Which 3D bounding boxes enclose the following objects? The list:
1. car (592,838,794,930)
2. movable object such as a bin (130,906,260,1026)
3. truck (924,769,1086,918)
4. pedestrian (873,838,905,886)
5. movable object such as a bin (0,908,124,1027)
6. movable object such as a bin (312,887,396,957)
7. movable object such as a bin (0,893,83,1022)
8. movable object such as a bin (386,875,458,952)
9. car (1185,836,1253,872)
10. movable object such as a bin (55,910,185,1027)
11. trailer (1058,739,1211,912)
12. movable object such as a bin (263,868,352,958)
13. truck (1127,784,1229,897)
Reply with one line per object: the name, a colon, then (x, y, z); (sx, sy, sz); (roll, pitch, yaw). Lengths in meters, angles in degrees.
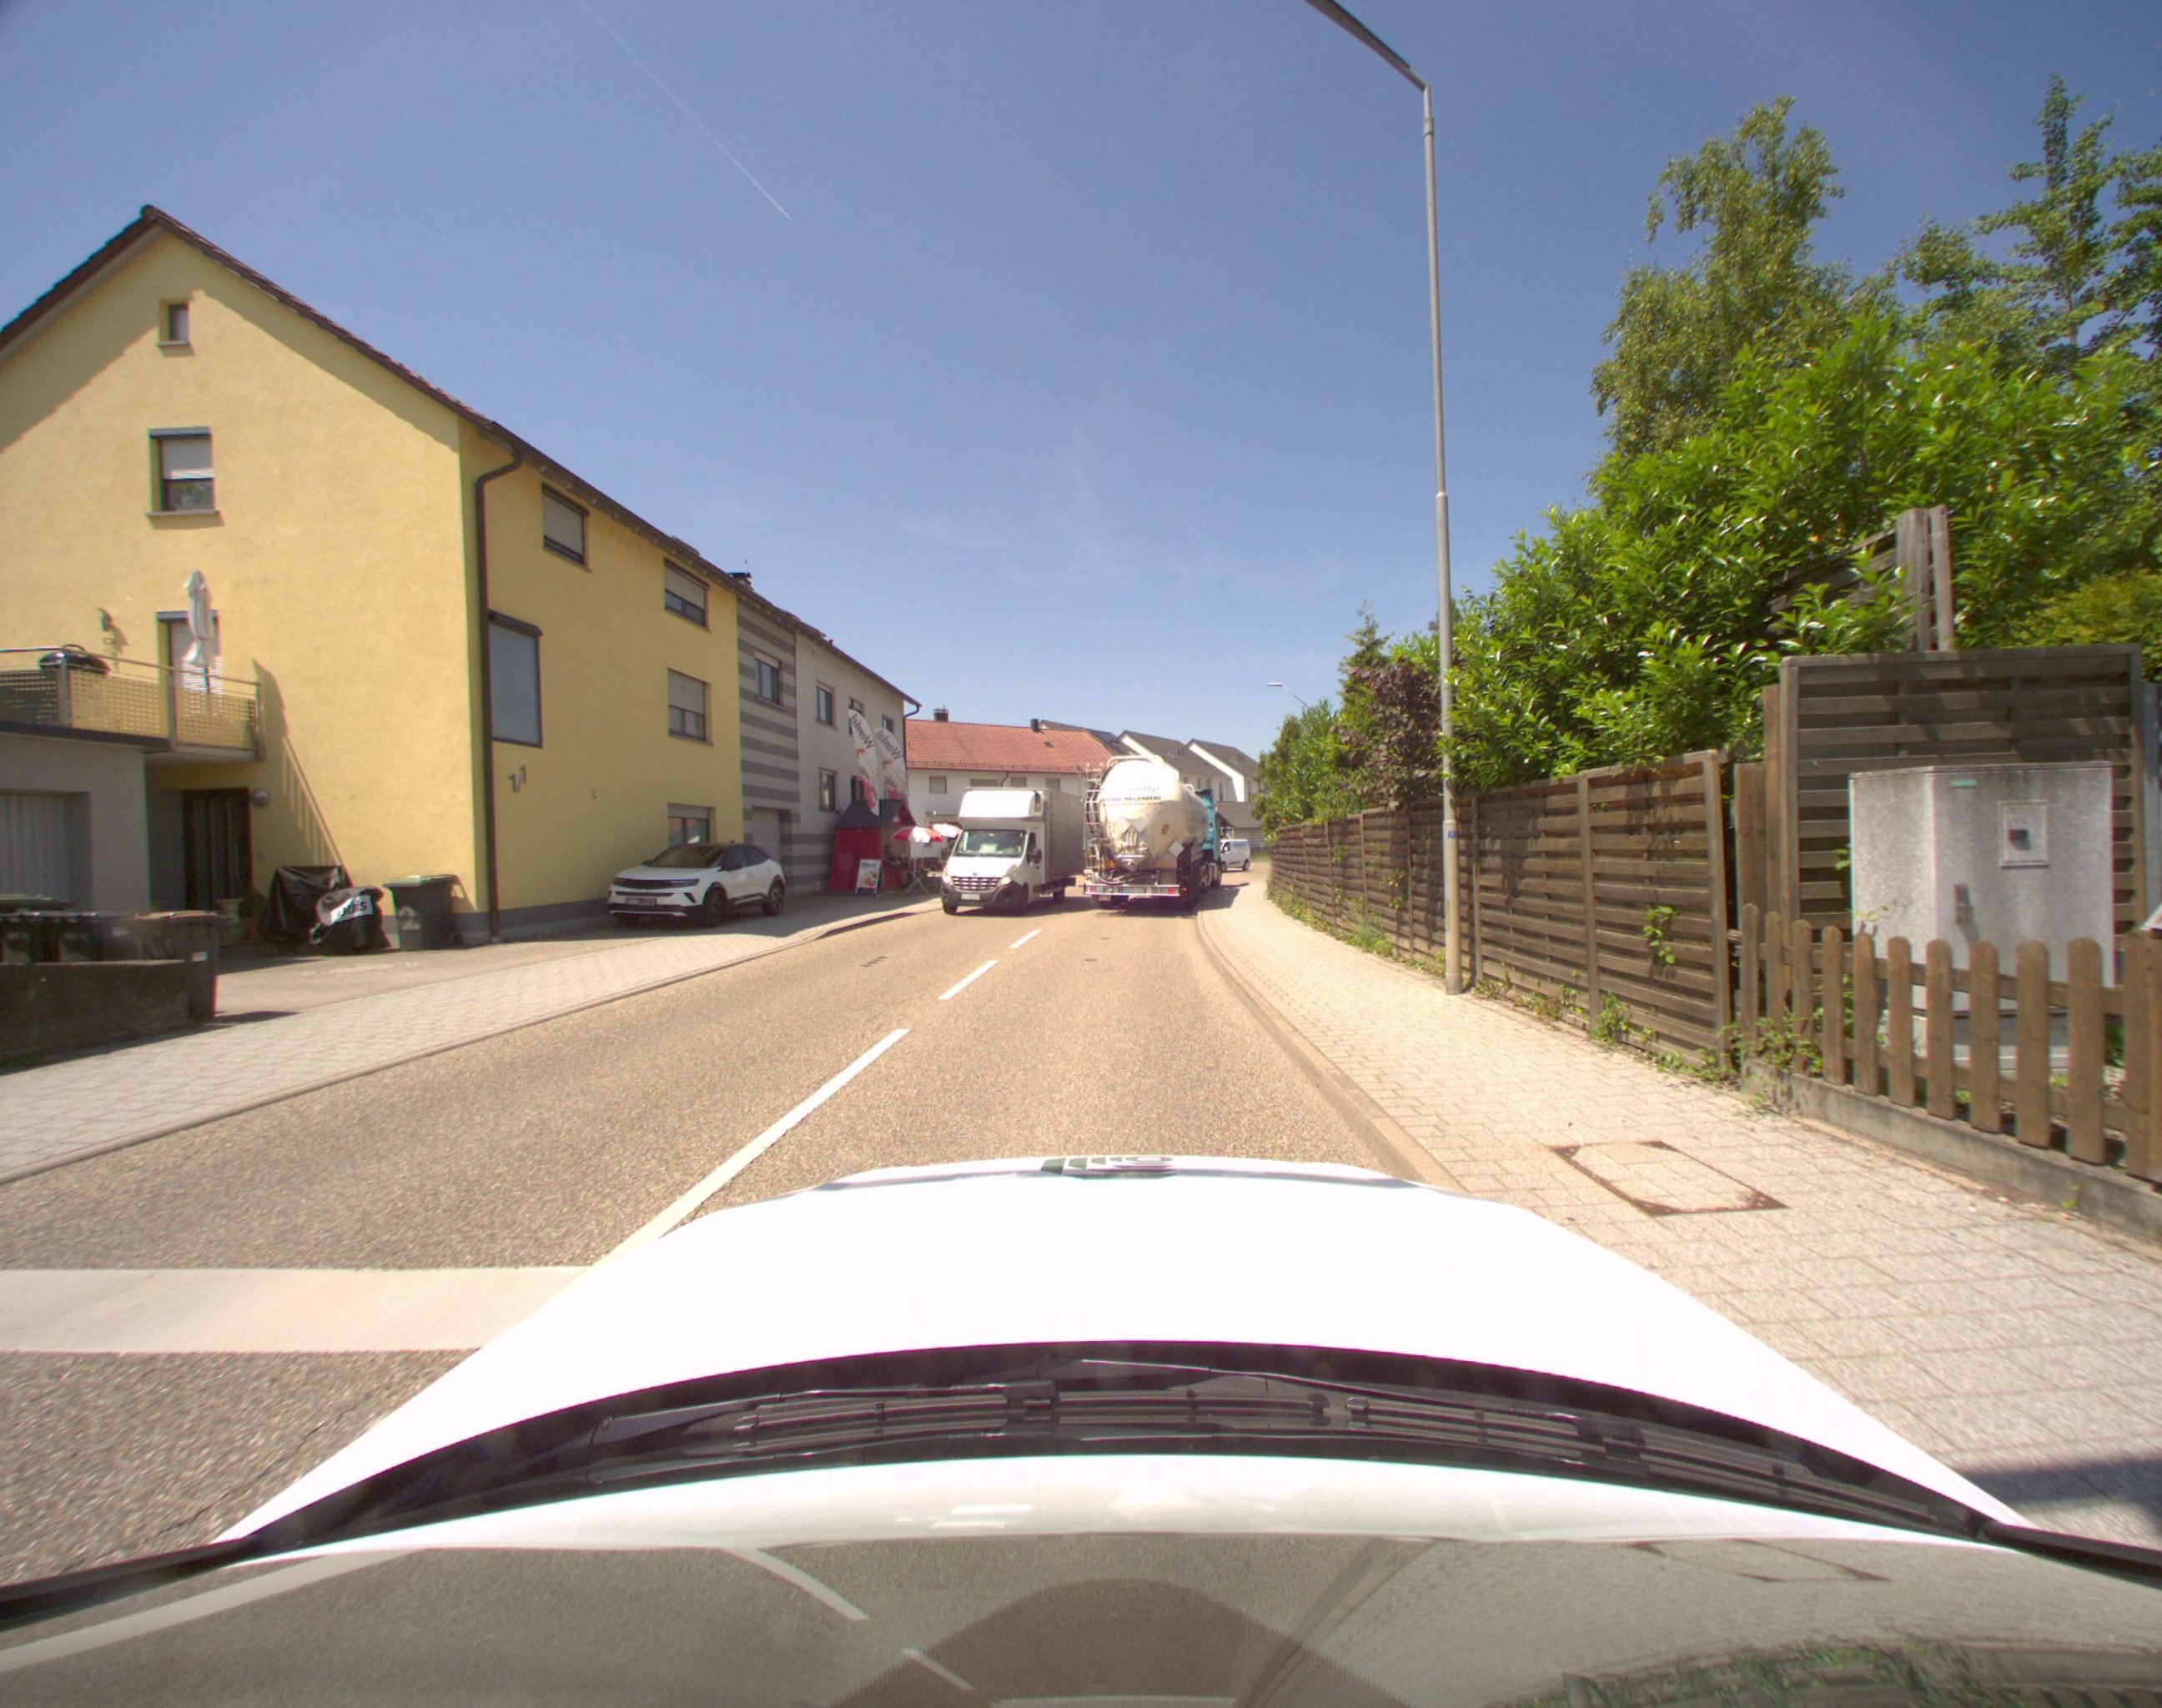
car: (-7.376, 0.496, 16.009); (1.722, 1.552, 4.193); (-1, 0, 4)
movable object such as a bin: (-7.561, 0.939, 6.970); (0.498, 0.948, 0.554); (-1, 0, 2)
truck: (-1.747, -0.308, 22.483); (2.451, 3.367, 7.638); (1, 1, 10)
pedestrian: (-6.392, 0.254, 27.088); (0.605, 1.587, 0.814); (-1, 0, 36)
movable object such as a bin: (-8.774, 0.958, 7.006); (0.445, 0.938, 0.531); (-1, 0, 2)
movable object such as a bin: (-10.124, 0.932, 11.353); (0.595, 0.910, 0.608); (-1, 0, 2)
movable object such as a bin: (-9.306, 0.887, 7.076); (0.469, 1.055, 0.634); (0, 0, 2)
movable object such as a bin: (-9.390, 0.837, 11.618); (0.498, 1.043, 0.608); (-1, 0, 2)
car: (8.510, -0.043, 49.817); (1.974, 1.999, 5.248); (1, 2, 36)
movable object such as a bin: (-8.261, 0.965, 7.020); (0.445, 0.928, 0.562); (0, 0, 2)
trailer: (2.151, -0.746, 24.794); (2.933, 3.947, 11.657); (-2, 1, 12)
movable object such as a bin: (-10.801, 0.810, 11.388); (0.550, 1.196, 0.695); (-1, 0, 2)
truck: (4.054, -0.545, 32.811); (2.965, 3.964, 5.602); (-5, 0, 16)
